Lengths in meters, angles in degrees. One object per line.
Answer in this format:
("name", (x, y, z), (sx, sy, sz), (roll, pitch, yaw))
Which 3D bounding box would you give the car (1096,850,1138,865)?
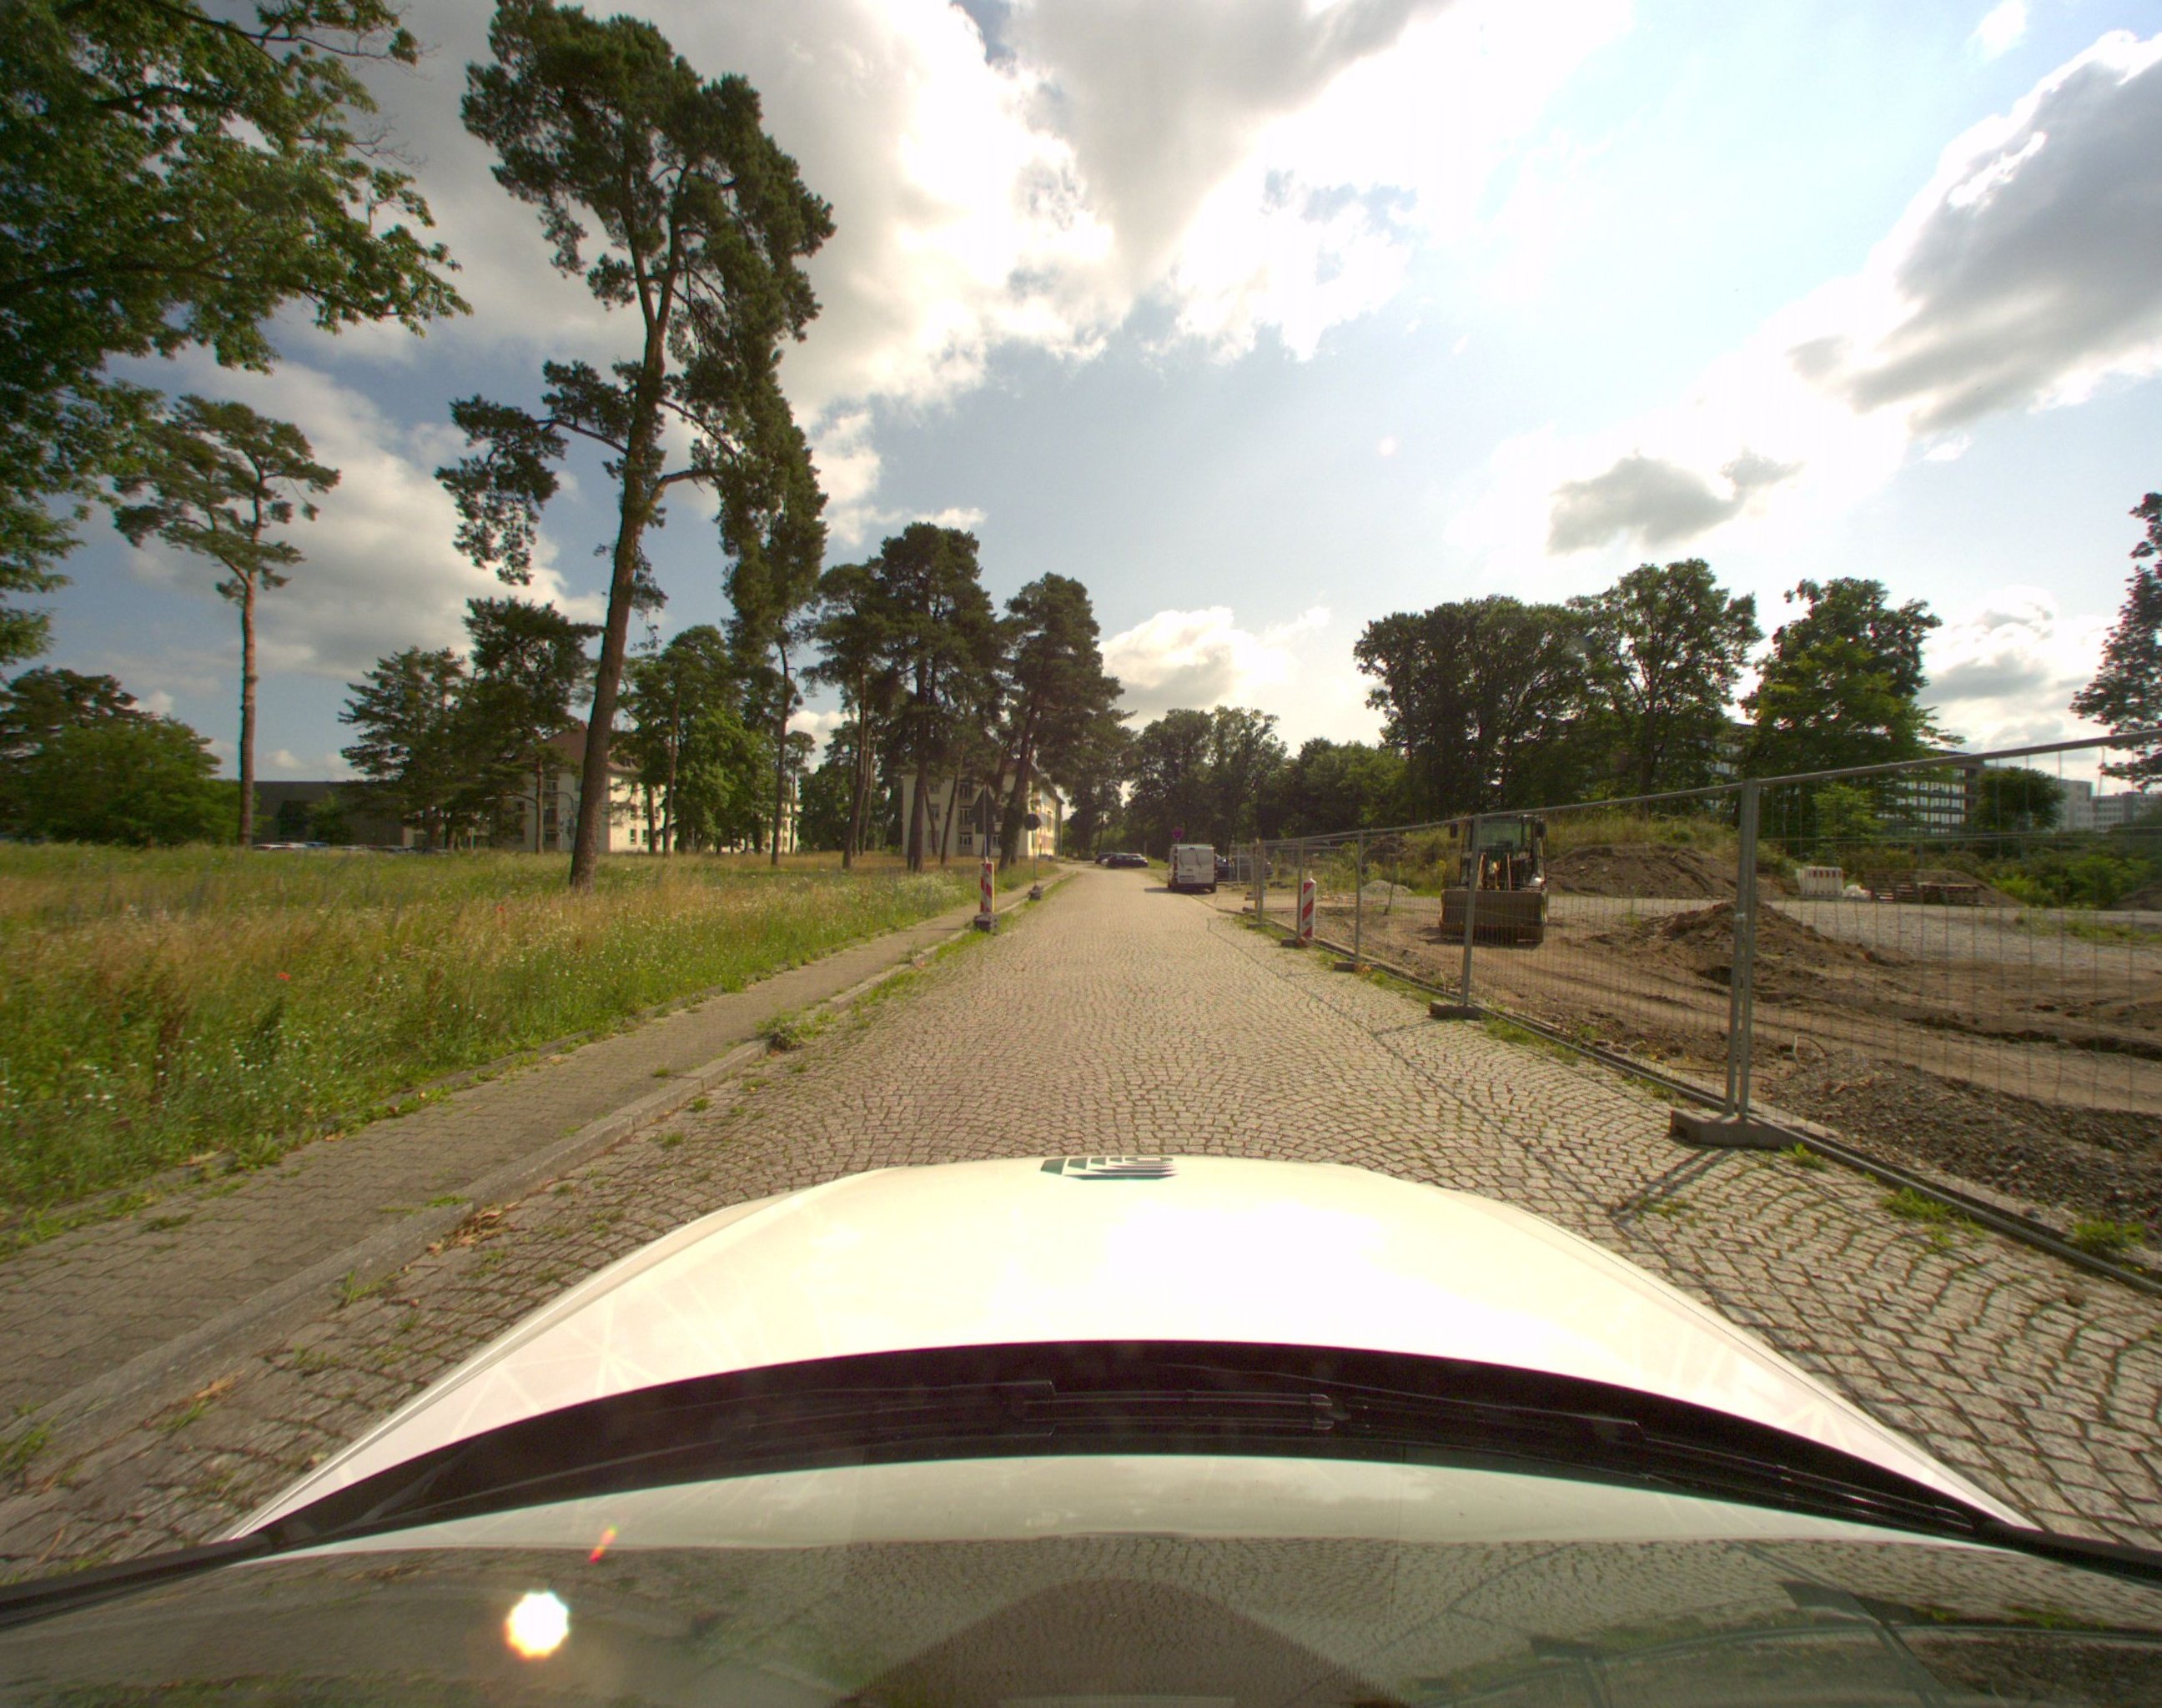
("car", (4.117, 0.411, 94.108), (4.836, 1.552, 1.880), (-1, -1, 0))

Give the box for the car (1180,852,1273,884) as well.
("car", (7.496, 0.705, 42.086), (4.442, 1.475, 1.744), (-2, 0, -3))

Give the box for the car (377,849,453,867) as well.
("car", (-49.271, 0.299, 60.295), (4.052, 1.309, 1.901), (0, 0, 0))

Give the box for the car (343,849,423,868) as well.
("car", (-49.612, 0.313, 57.919), (4.052, 1.320, 1.901), (0, 0, 0))

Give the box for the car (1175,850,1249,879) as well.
("car", (7.490, 0.602, 46.787), (3.975, 1.507, 1.746), (-2, 0, -1))

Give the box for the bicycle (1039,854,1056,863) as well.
("bicycle", (-4.566, 0.642, 111.485), (2.212, 1.260, 0.624), (0, 0, 4))

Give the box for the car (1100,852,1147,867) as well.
("car", (4.481, 0.594, 86.738), (4.846, 1.472, 1.874), (-1, 1, 0))

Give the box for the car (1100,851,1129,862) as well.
("car", (5.067, 0.434, 122.235), (4.169, 1.543, 1.822), (-1, -1, 3))

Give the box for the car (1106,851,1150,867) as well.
("car", (4.790, 0.542, 83.585), (4.319, 1.500, 1.826), (-1, 1, -7))

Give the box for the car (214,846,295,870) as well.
("car", (-61.084, 0.277, 60.246), (4.052, 1.702, 1.901), (0, 0, 0))

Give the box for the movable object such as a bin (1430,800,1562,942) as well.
("movable object such as a bin", (9.009, 0.253, 17.388), (2.122, 2.521, 5.692), (-1, 1, 30))

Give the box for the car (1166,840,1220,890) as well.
("car", (4.897, 0.456, 36.252), (1.906, 2.053, 5.683), (0, 0, 3))
